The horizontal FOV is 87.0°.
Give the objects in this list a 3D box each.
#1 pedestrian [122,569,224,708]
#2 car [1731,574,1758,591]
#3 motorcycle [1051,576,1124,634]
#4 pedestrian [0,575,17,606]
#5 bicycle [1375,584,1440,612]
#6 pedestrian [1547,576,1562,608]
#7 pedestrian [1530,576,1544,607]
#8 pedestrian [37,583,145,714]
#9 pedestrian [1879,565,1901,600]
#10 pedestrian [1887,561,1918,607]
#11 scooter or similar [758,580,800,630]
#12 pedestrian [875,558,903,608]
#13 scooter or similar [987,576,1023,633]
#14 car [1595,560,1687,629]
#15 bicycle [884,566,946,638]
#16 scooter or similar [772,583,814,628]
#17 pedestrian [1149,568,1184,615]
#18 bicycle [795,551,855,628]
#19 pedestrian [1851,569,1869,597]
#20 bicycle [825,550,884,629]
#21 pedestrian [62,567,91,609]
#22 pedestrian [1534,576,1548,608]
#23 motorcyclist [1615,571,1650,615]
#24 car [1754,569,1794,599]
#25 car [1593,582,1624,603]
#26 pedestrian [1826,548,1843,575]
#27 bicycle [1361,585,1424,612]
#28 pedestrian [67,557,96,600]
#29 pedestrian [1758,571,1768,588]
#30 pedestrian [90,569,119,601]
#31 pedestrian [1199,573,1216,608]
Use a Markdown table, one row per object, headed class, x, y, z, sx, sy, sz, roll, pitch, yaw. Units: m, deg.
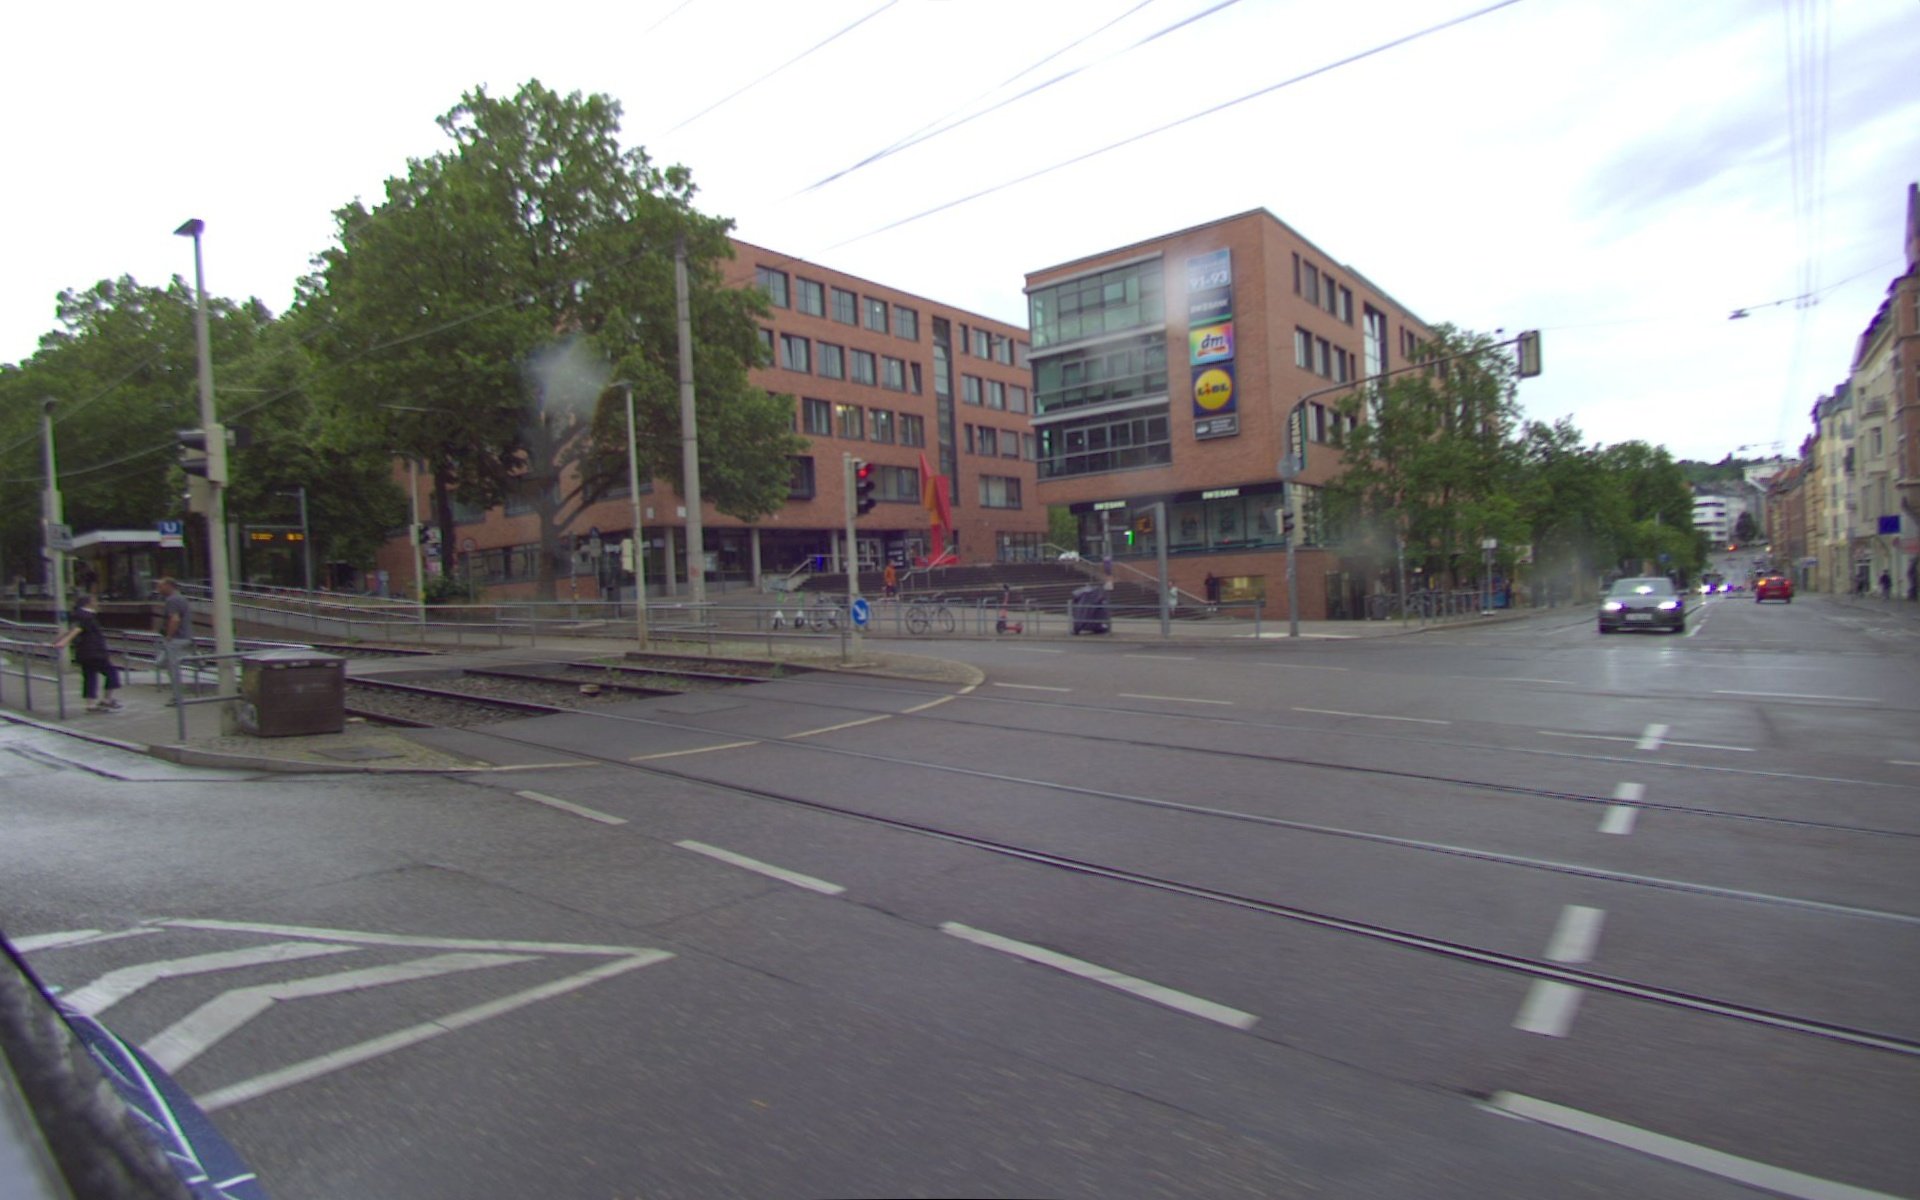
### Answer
| class | x | y | z | sx | sy | sz | roll | pitch | yaw |
| --- | --- | --- | --- | --- | --- | --- | --- | --- | --- |
| pedestrian | -10.750 | 0.494 | 13.828 | 0.999 | 1.812 | 0.818 | 0 | 1 | 35 |
| car | 66.228 | -1.515 | 85.398 | 1.635 | 1.302 | 3.947 | 0 | 3 | 40 |
| motorcycle | 3.247 | 0.092 | 25.603 | 0.863 | 1.381 | 2.631 | 0 | 1 | 30 |
| pedestrian | -56.793 | -0.580 | 60.383 | 0.702 | 1.804 | 0.668 | 0 | 1 | 38 |
| bicycle | 18.901 | -0.084 | 42.736 | 2.366 | 1.109 | 0.841 | 0 | 2 | 41 |
| pedestrian | 31.248 | -0.415 | 53.178 | 0.598 | 1.641 | 0.566 | 0 | 2 | 36 |
| pedestrian | 31.195 | -0.449 | 54.690 | 0.572 | 1.641 | 0.480 | 0 | 2 | 38 |
| pedestrian | -11.361 | 0.595 | 13.231 | 0.999 | 1.616 | 0.827 | 0 | 1 | 35 |
| pedestrian | 50.347 | -0.938 | 54.792 | 0.812 | 1.851 | 0.760 | 0 | 1 | 36 |
| pedestrian | 38.221 | -0.636 | 41.043 | 0.812 | 1.851 | 0.760 | 0 | 1 | 36 |
| scooter or similar | -5.206 | 0.120 | 29.147 | 0.449 | 1.381 | 1.497 | -1 | 2 | 20 |
| pedestrian | -2.643 | -0.639 | 37.621 | 0.779 | 1.757 | 1.073 | -1 | 5 | -19 |
| scooter or similar | 1.162 | 0.094 | 25.808 | 0.449 | 1.381 | 1.497 | -1 | 2 | 20 |
| car | 17.906 | -0.154 | 26.533 | 1.838 | 1.678 | 3.951 | 0 | 0 | 36 |
| bicycle | -1.144 | 0.005 | 26.176 | 0.555 | 1.710 | 2.076 | 1 | 4 | 30 |
| scooter or similar | -4.707 | 0.143 | 28.685 | 0.475 | 1.203 | 1.709 | -1 | 1 | 16 |
| pedestrian | 7.735 | -0.319 | 37.961 | 1.007 | 1.743 | 0.888 | 0 | 1 | 37 |
| bicycle | -3.681 | -0.306 | 27.731 | 0.517 | 2.028 | 1.877 | 0 | 3 | 30 |
| pedestrian | 59.722 | -1.101 | 67.132 | 0.812 | 1.851 | 0.760 | 0 | 1 | 36 |
| bicycle | -2.820 | -0.308 | 27.231 | 0.517 | 2.028 | 1.877 | 0 | 3 | 30 |
| pedestrian | -44.156 | -0.604 | 50.573 | 0.882 | 2.077 | 0.828 | 0 | 1 | 33 |
| pedestrian | 30.625 | -0.411 | 53.343 | 0.574 | 1.641 | 0.566 | 0 | 2 | 36 |
| motorcyclist | 20.571 | -0.212 | 30.961 | 0.841 | 1.312 | 0.804 | 0 | 2 | 38 |
| car | 48.687 | -0.961 | 60.584 | 1.633 | 1.594 | 3.952 | 0 | 3 | 36 |
| car | 52.609 | -0.643 | 82.091 | 1.815 | 1.601 | 3.951 | 0 | 1 | 37 |
| pedestrian | 61.067 | -2.650 | 70.663 | 0.812 | 1.851 | 0.760 | 0 | 1 | 36 |
| bicycle | 17.978 | -0.055 | 42.093 | 2.358 | 1.109 | 0.693 | -1 | 2 | 30 |
| pedestrian | -43.294 | -1.074 | 49.860 | 0.882 | 2.077 | 0.828 | 0 | 1 | 33 |
| pedestrian | 89.830 | -2.323 | 113.243 | 0.812 | 1.851 | 0.760 | 0 | 1 | 36 |
| pedestrian | -40.269 | -0.722 | 47.633 | 0.882 | 1.494 | 0.773 | 0 | 1 | 33 |
| pedestrian | 11.173 | -0.430 | 45.750 | 0.591 | 1.577 | 0.514 | 0 | 2 | 36 |
